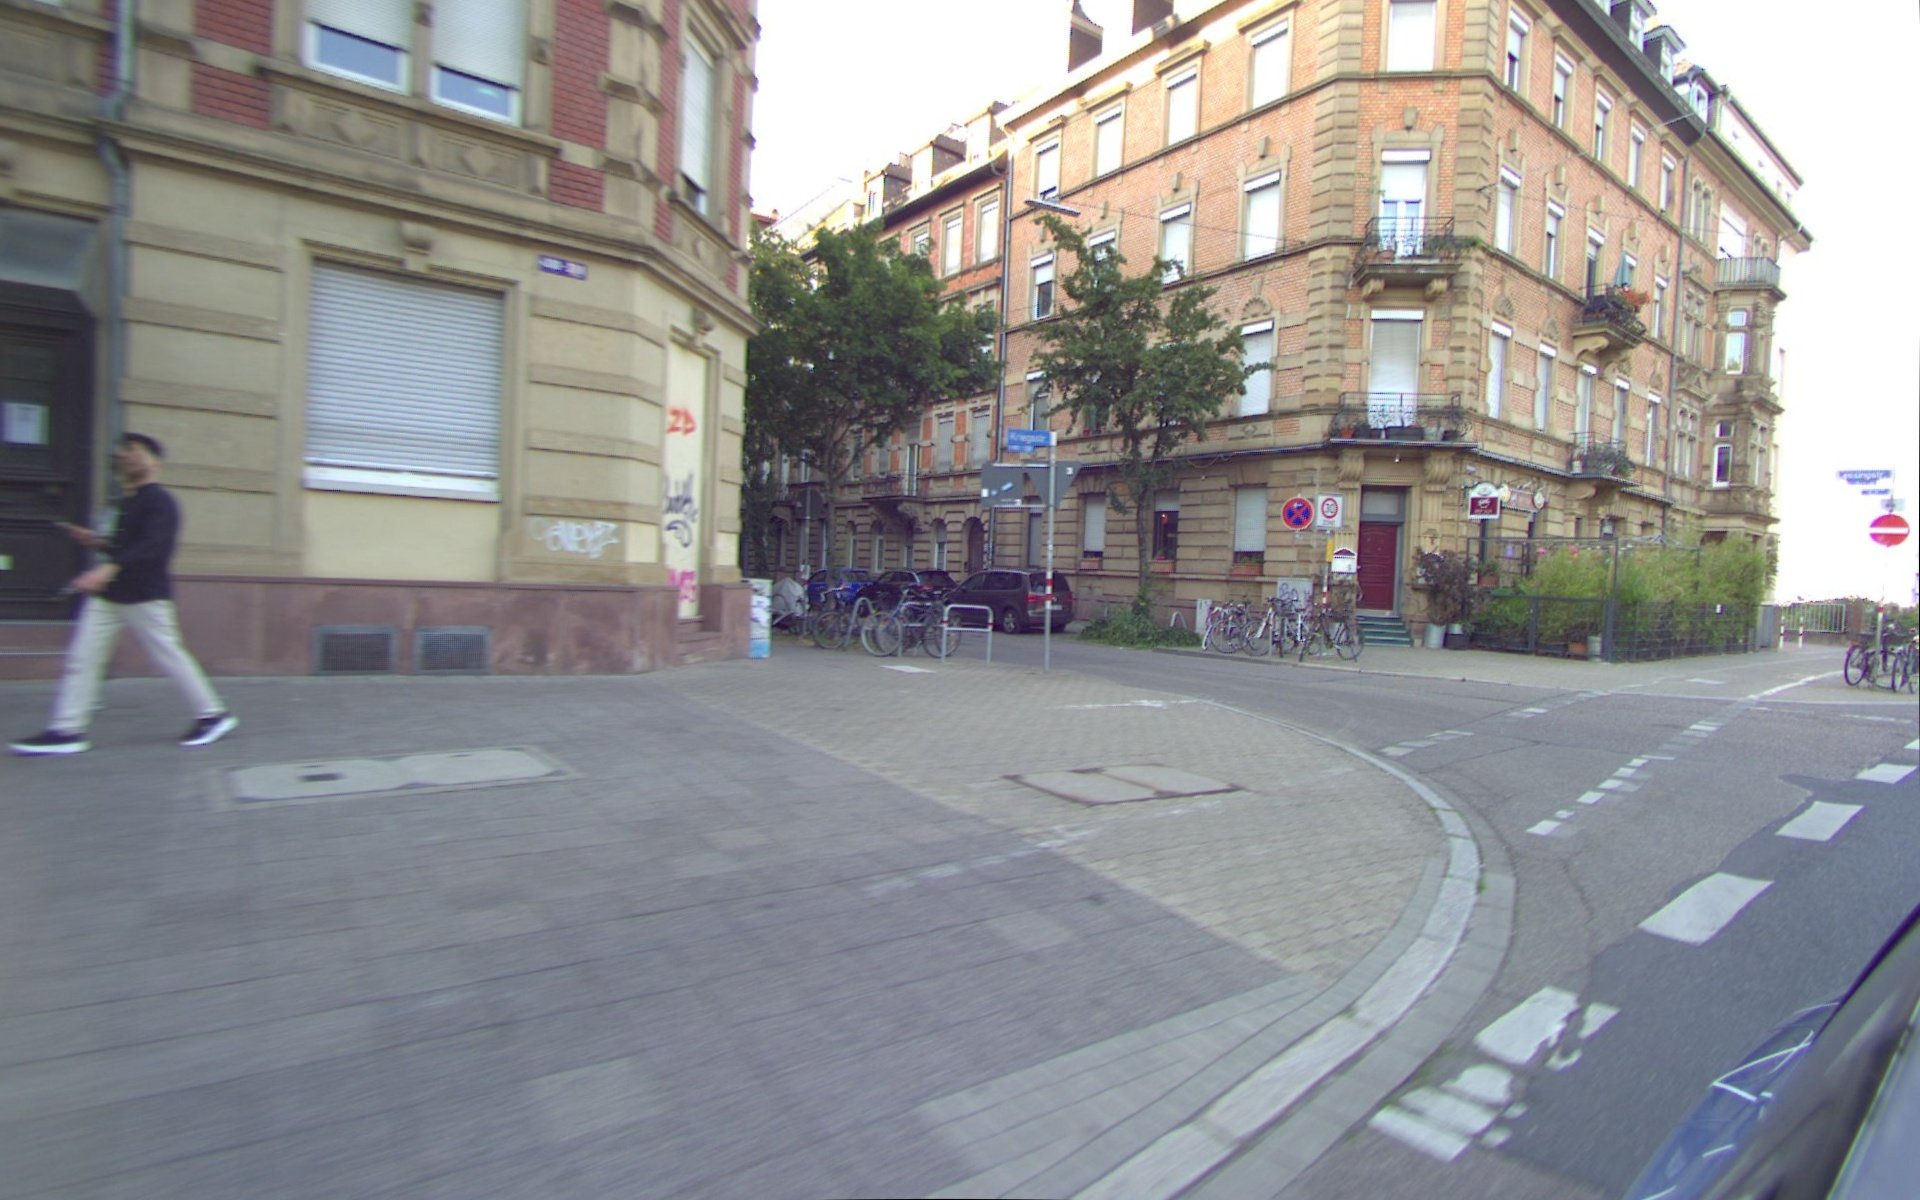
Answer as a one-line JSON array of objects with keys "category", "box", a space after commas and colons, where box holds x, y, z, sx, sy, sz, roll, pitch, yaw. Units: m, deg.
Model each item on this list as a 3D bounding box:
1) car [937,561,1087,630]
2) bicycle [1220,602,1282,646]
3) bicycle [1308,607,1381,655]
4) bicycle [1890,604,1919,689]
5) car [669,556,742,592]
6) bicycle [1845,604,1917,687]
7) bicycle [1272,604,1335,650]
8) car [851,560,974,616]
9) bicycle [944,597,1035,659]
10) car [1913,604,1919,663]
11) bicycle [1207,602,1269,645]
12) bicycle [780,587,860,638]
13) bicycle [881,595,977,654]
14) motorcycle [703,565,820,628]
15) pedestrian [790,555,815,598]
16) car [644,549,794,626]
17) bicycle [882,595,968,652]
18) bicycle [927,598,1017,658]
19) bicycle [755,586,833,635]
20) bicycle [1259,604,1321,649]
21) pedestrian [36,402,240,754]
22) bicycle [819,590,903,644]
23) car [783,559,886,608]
[{"category": "car", "box": [1.281, -0.170, 26.602, 1.813, 1.626, 4.001, 1, 2, -35]}, {"category": "bicycle", "box": [5.936, 0.480, 20.632, 1.468, 0.827, 0.295, -2, 1, -31]}, {"category": "bicycle", "box": [7.184, 0.564, 18.884, 1.701, 0.827, 0.295, -2, 1, -31]}, {"category": "bicycle", "box": [16.642, 0.782, 17.411, 2.225, 1.314, 0.567, -1, 7, -41]}, {"category": "car", "box": [-11.252, -1.150, 44.572, 1.813, 1.436, 4.001, 1, 2, -35]}, {"category": "bicycle", "box": [16.265, 0.766, 17.854, 2.225, 1.289, 0.567, -1, 7, -41]}, {"category": "bicycle", "box": [6.714, 0.516, 19.769, 1.468, 0.827, 0.295, -2, 1, -31]}, {"category": "car", "box": [-1.500, -0.390, 30.619, 1.813, 1.541, 4.001, 1, 2, -35]}, {"category": "bicycle", "box": [0.448, 0.418, 14.836, 1.470, 0.827, 0.292, 5, -3, -40]}, {"category": "car", "box": [24.000, 0.820, 23.833, 3.482, 1.482, 1.732, 1, 5, -39]}, {"category": "bicycle", "box": [5.753, 0.478, 20.900, 1.468, 0.827, 0.295, -2, 1, -31]}, {"category": "bicycle", "box": [-2.524, 0.235, 18.373, 1.470, 0.827, 0.295, 5, -3, -40]}, {"category": "bicycle", "box": [-0.465, 0.381, 15.689, 1.467, 0.827, 0.296, 4, -3, -28]}, {"category": "motorcycle", "box": [-4.086, -0.053, 20.816, 2.162, 1.137, 0.887, 4, -2, -22]}, {"category": "pedestrian", "box": [-6.368, -0.950, 40.953, 0.783, 1.691, 0.589, 1, 1, -37]}, {"category": "car", "box": [-5.734, -0.336, 23.738, 1.962, 1.527, 4.000, 5, -1, -36]}, {"category": "bicycle", "box": [-0.540, 0.384, 16.169, 1.470, 0.827, 0.295, 5, -3, -40]}, {"category": "bicycle", "box": [0.200, 0.428, 15.105, 1.470, 0.827, 0.292, 5, -3, -40]}, {"category": "bicycle", "box": [-3.121, 0.208, 19.136, 1.470, 0.827, 0.295, 5, -3, -40]}, {"category": "bicycle", "box": [6.545, 0.507, 20.038, 1.468, 0.827, 0.295, -2, 1, -31]}, {"category": "pedestrian", "box": [-4.608, -0.136, 5.701, 0.817, 1.799, 0.747, 1, 5, -40]}, {"category": "bicycle", "box": [-1.668, 0.297, 17.227, 1.470, 0.827, 0.295, 5, -3, -40]}, {"category": "car", "box": [-4.389, -0.599, 34.910, 1.813, 1.541, 4.001, 1, 2, -35]}]
